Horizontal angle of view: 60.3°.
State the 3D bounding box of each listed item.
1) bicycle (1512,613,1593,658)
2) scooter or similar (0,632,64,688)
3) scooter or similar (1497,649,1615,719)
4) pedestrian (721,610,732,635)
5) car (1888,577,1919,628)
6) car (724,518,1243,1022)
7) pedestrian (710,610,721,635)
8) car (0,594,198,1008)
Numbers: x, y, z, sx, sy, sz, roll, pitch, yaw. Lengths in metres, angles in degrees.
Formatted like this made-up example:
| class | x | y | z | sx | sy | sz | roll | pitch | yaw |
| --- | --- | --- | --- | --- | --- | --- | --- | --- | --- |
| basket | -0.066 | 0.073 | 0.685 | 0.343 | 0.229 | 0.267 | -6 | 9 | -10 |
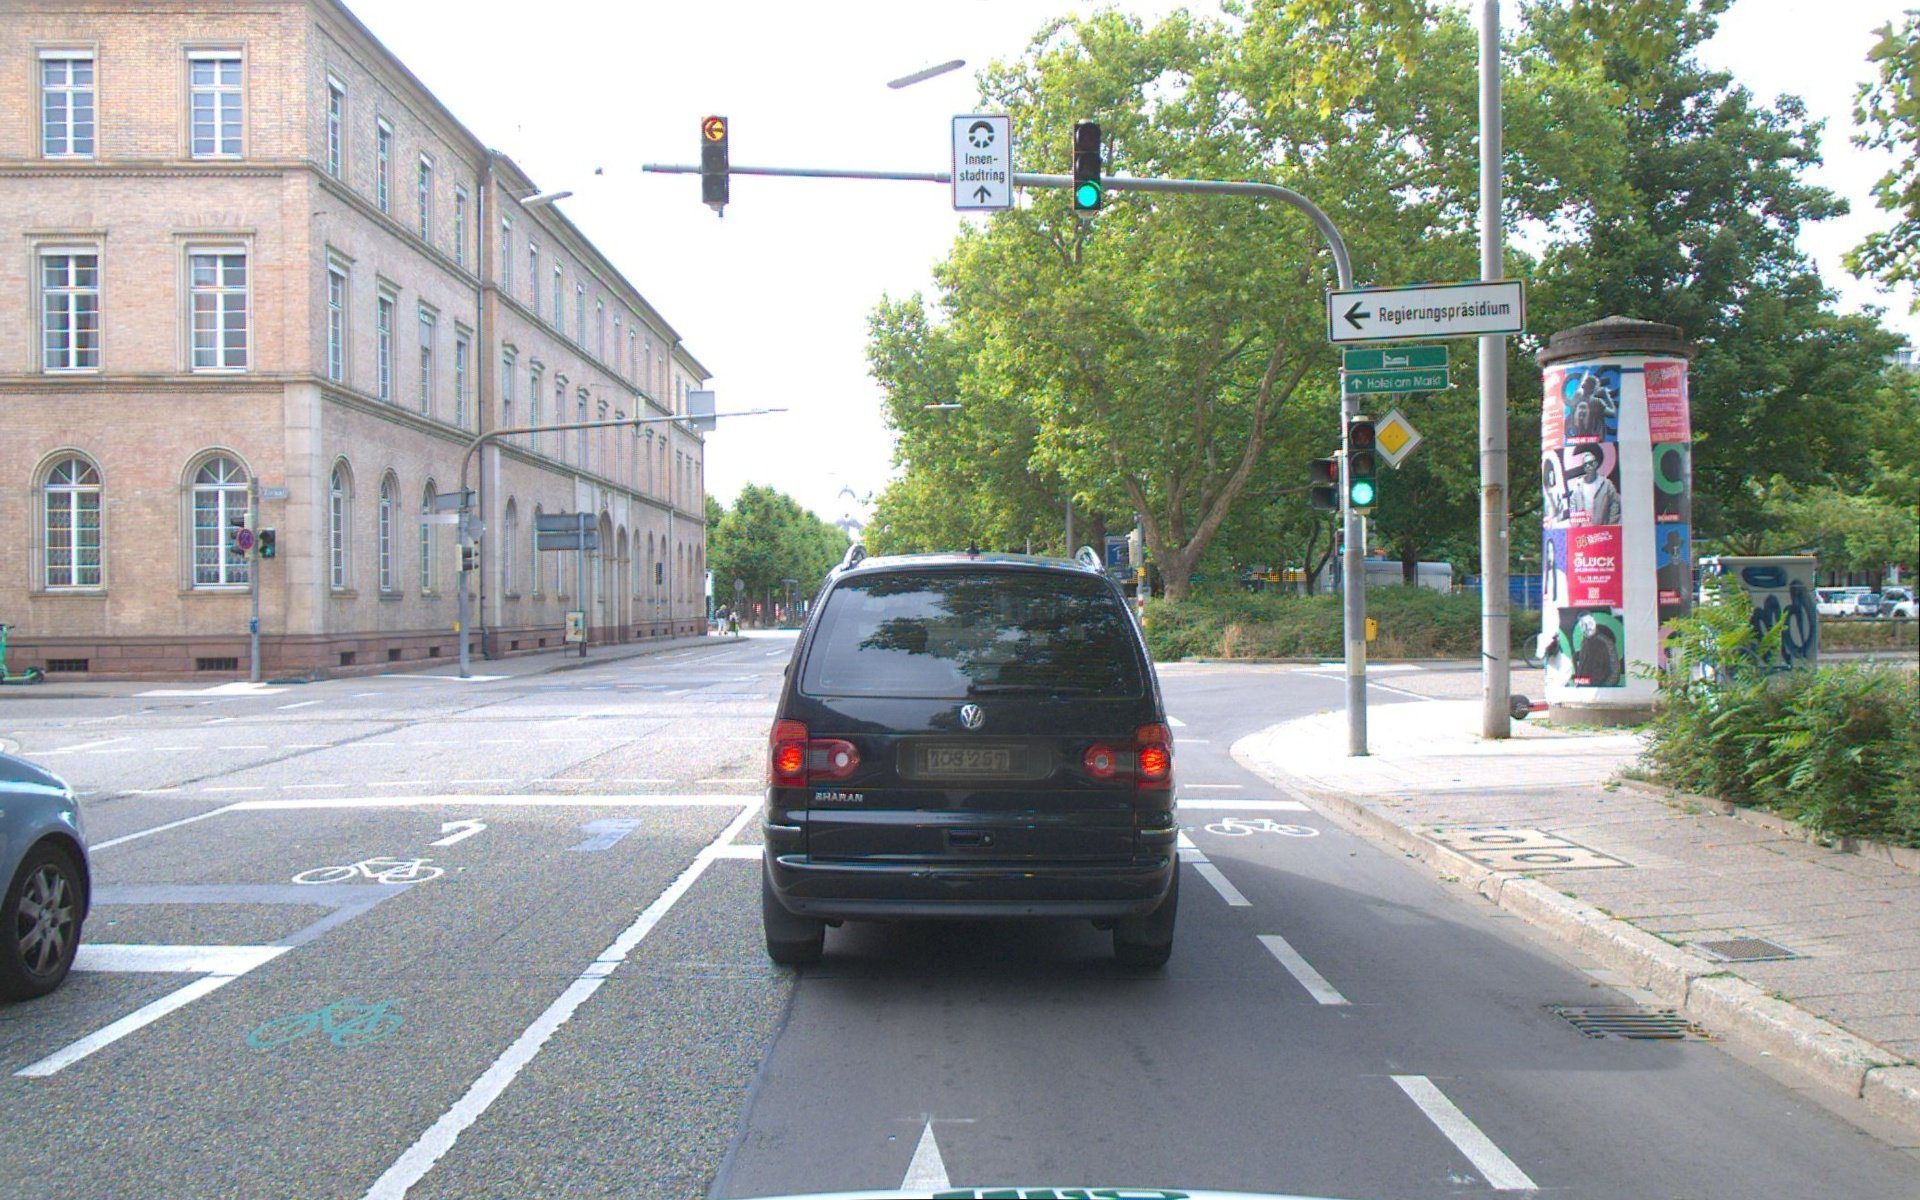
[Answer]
| class | x | y | z | sx | sy | sz | roll | pitch | yaw |
| --- | --- | --- | --- | --- | --- | --- | --- | --- | --- |
| bicycle | 12.084 | 0.719 | 33.735 | 1.440 | 0.900 | 0.555 | -1 | 0 | -1 |
| scooter or similar | -18.270 | 1.174 | 32.500 | 1.115 | 1.068 | 0.379 | -1 | -2 | -1 |
| scooter or similar | 6.740 | 0.948 | 18.732 | 1.194 | 0.749 | 0.369 | -1 | 0 | -1 |
| pedestrian | -13.636 | 1.324 | 96.623 | 0.545 | 1.460 | 0.579 | -1 | 0 | -1 |
| car | 32.584 | 0.072 | 54.176 | 1.922 | 1.680 | 4.151 | -1 | 0 | -3 |
| car | 0.024 | 0.596 | 8.183 | 1.836 | 1.775 | 4.572 | 0 | 0 | -2 |
| pedestrian | -14.257 | 1.322 | 96.471 | 0.545 | 1.460 | 0.579 | -1 | 0 | -1 |
| car | -4.204 | 0.736 | 5.193 | 1.678 | 1.445 | 4.252 | -2 | 0 | -1 |
